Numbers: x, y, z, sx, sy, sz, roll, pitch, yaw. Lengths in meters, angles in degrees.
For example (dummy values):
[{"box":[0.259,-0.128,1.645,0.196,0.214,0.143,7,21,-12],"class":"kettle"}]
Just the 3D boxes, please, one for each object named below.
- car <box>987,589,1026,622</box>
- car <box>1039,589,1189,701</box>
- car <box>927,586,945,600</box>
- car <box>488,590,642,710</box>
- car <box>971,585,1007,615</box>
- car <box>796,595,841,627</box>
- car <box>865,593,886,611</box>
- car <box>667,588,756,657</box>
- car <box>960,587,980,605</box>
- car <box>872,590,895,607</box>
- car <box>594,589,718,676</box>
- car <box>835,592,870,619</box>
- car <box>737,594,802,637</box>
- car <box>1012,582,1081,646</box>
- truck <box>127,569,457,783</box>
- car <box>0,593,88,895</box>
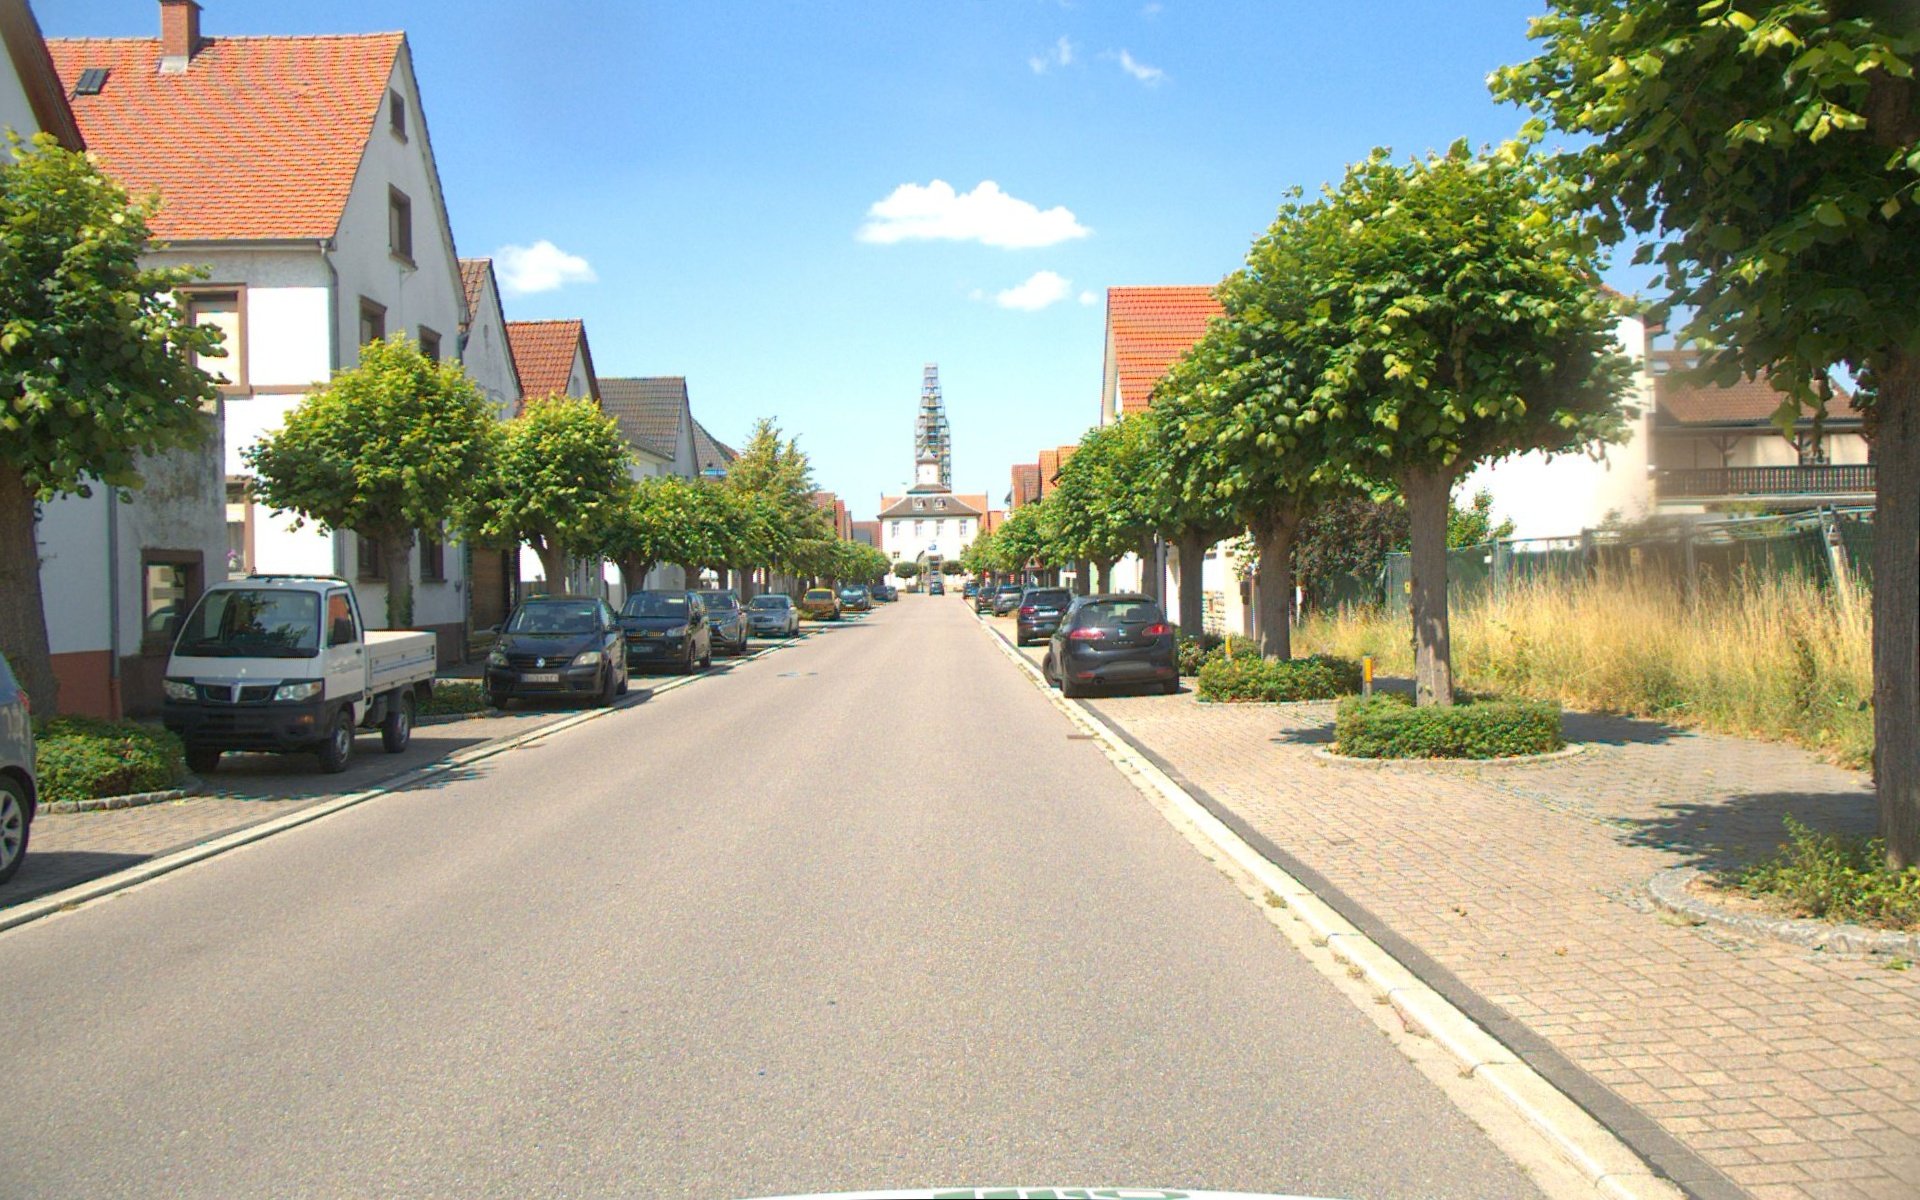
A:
[{"box":[2.416,0.272,87.175,1.800,1.636,3.998,-1,0,-2],"class":"car"},{"box":[2.262,0.614,25.269,1.787,1.457,4.056,-3,1,-1],"class":"car"},{"box":[-2.619,-0.755,179.904,1.693,1.574,3.457,0,0,5],"class":"car"},{"box":[-5.844,0.688,24.878,1.751,1.662,3.995,0,0,-6],"class":"car"},{"box":[1.636,-0.025,94.687,1.800,1.582,4.313,-3,0,-1],"class":"car"},{"box":[-7.404,0.548,87.087,1.952,1.639,4.689,0,0,0],"class":"car"},{"box":[-7.721,0.165,151.649,1.721,1.582,4.020,-1,0,0],"class":"car"},{"box":[-6.393,0.541,42.959,1.954,1.681,4.364,0,0,-4],"class":"car"},{"box":[0.974,-0.405,157.457,1.800,1.582,4.313,-3,0,0],"class":"car"},{"box":[-7.295,-0.119,157.399,1.952,1.639,3.855,0,0,0],"class":"car"},{"box":[-6.134,0.629,33.774,1.815,1.664,4.056,1,0,-1],"class":"car"},{"box":[-7.054,0.330,108.662,1.952,1.639,4.689,0,1,0],"class":"car"},{"box":[-6.543,0.518,57.269,1.803,1.420,4.405,0,0,-1],"class":"car"},{"box":[2.449,0.350,46.555,1.786,1.613,4.059,-3,1,3],"class":"car"},{"box":[-6.314,0.646,16.154,1.544,1.796,4.191,1,0,-1],"class":"truck"},{"box":[-6.099,0.762,7.666,1.815,1.641,4.370,1,0,-1],"class":"car"}]
